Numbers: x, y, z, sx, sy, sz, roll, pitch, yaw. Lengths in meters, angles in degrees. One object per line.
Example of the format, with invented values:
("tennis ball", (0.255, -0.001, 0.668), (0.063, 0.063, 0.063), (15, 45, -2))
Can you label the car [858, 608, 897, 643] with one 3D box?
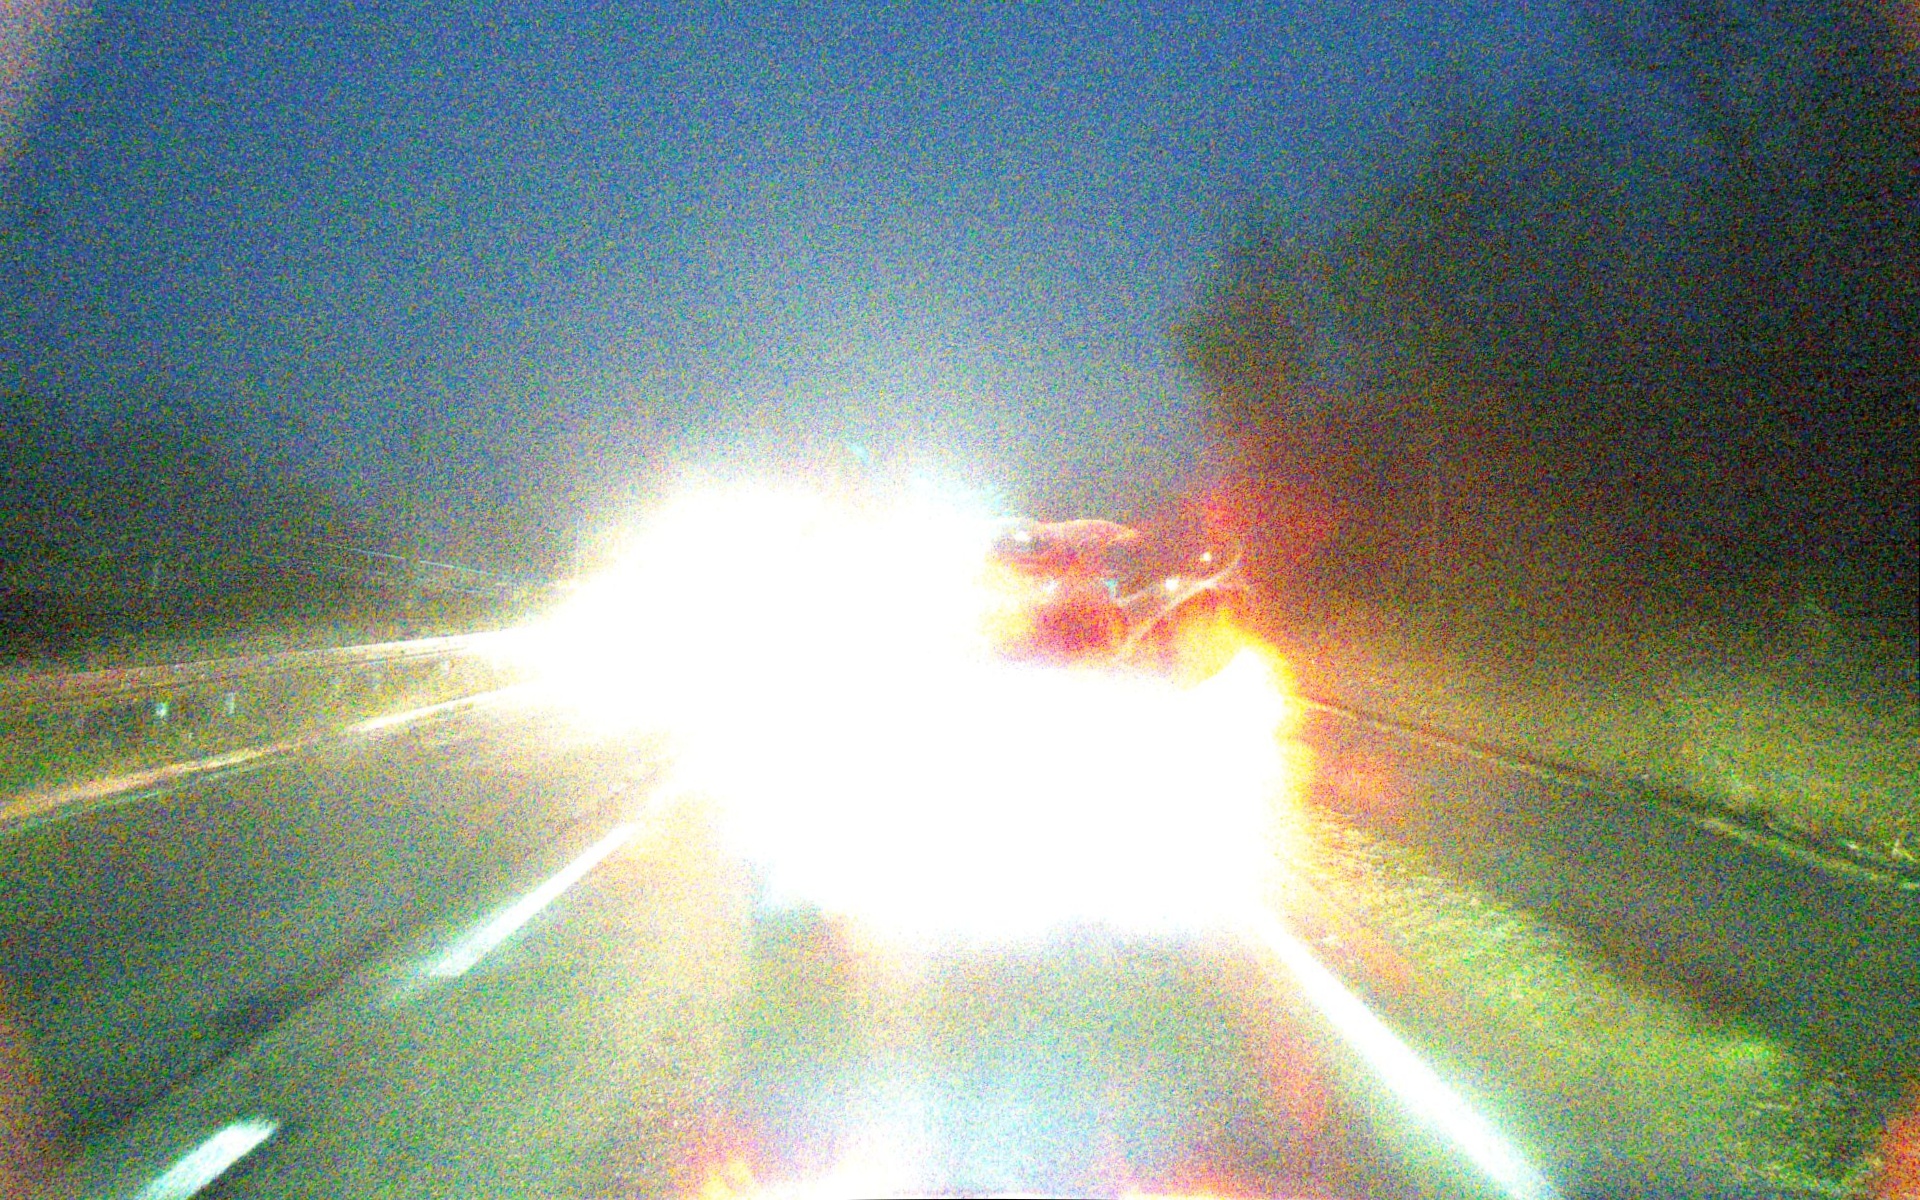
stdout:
("car", (-4.006, 1.206, 80.795), (1.800, 1.573, 4.256), (1, 1, -2))

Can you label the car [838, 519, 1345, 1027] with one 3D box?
("car", (0.445, 0.594, 7.745), (1.739, 1.742, 4.000), (1, 0, -1))

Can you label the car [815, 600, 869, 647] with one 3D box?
("car", (-4.444, 0.866, 62.932), (1.912, 1.685, 4.122), (0, 0, -3))
